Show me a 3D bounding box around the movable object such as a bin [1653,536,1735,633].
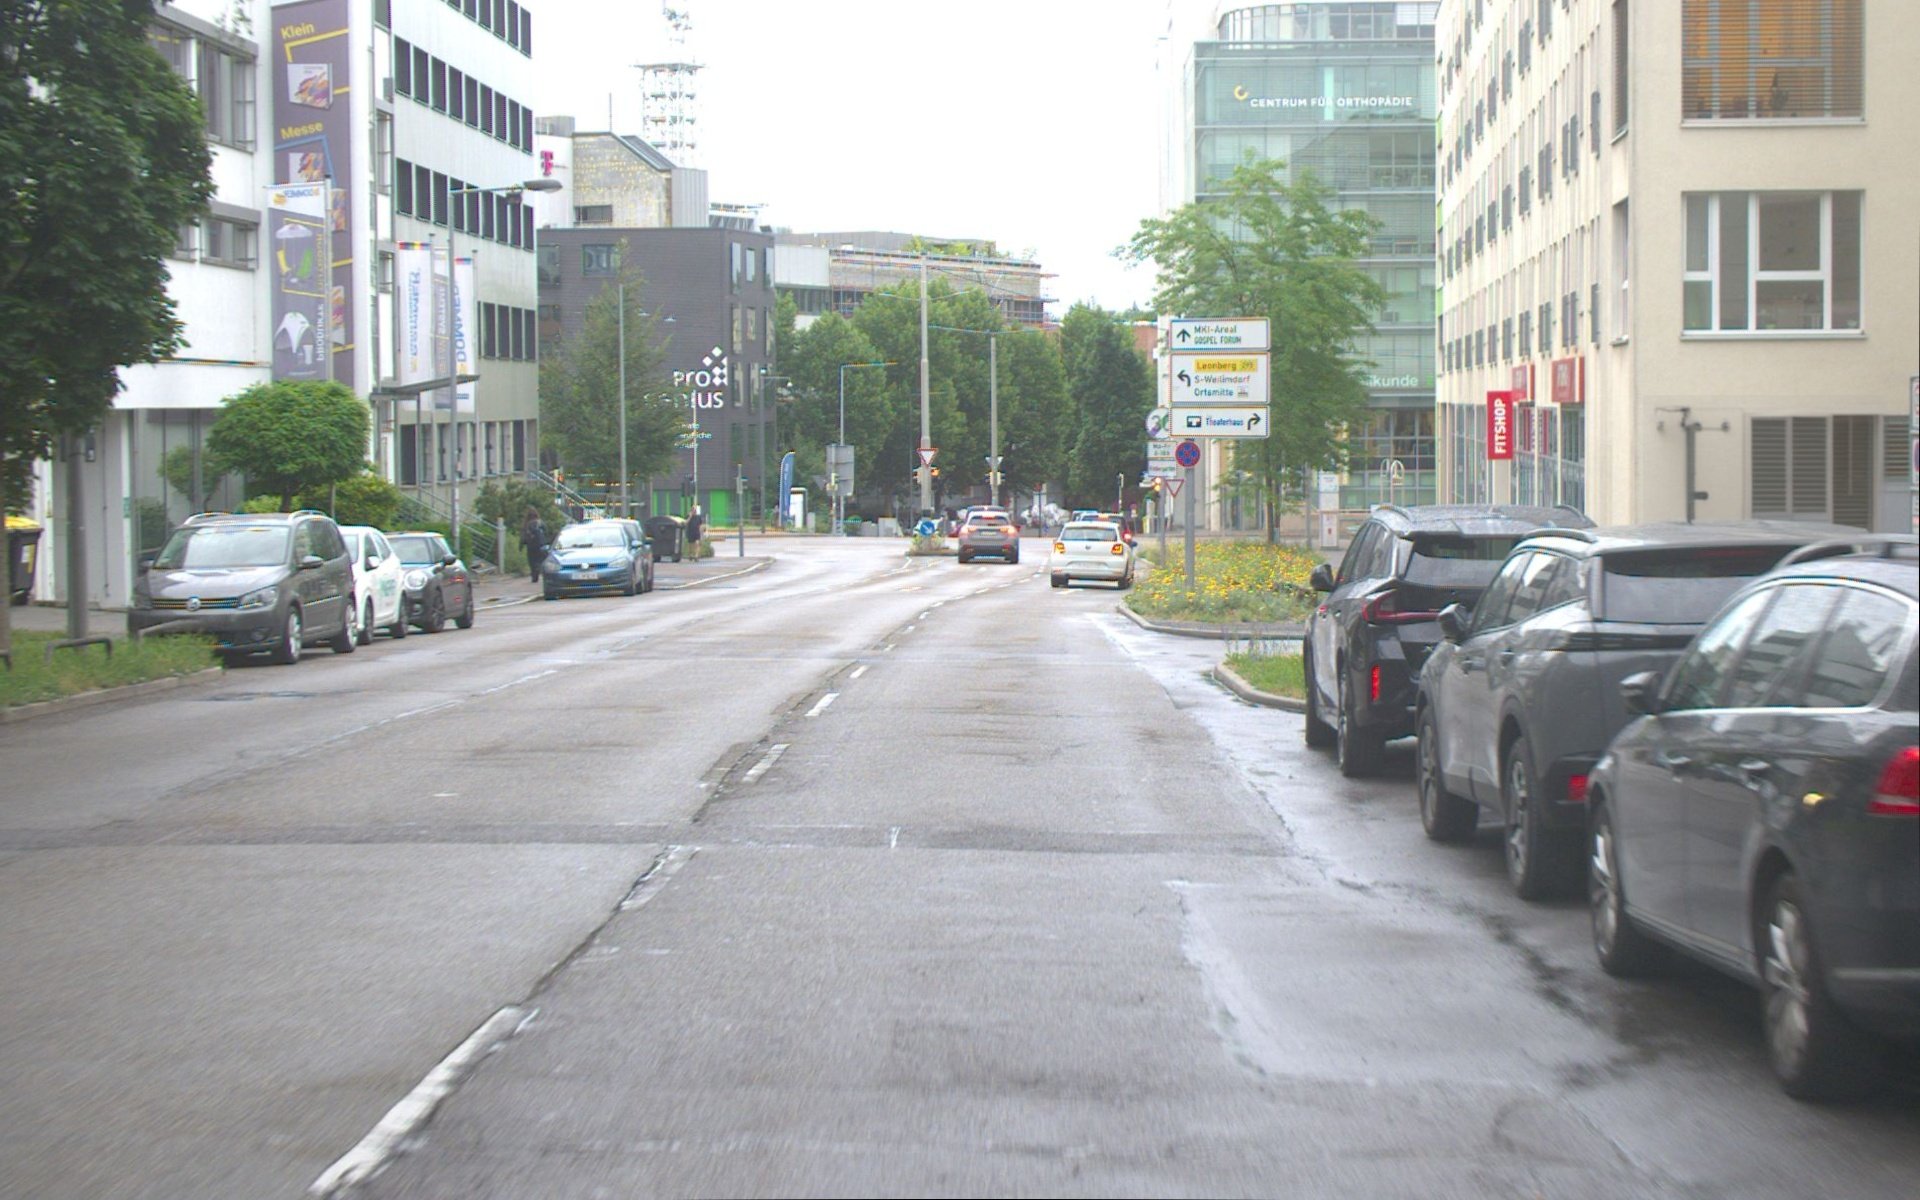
[{"bbox_3d":[10.732,-0.229,50.275,1.021,1.398,1.057,0,1,3],"label":"movable object such as a bin"}]

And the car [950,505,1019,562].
[{"bbox_3d":[0.804,-2.091,109.226,2.141,1.722,4.000,0,0,1],"label":"car"}]

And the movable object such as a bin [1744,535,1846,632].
[{"bbox_3d":[12.156,-0.240,50.083,1.261,1.398,1.112,0,1,3],"label":"movable object such as a bin"}]

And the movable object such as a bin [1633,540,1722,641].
[{"bbox_3d":[10.727,-0.152,51.404,1.174,1.498,1.013,0,1,4],"label":"movable object such as a bin"}]

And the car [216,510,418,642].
[{"bbox_3d":[-8.110,-0.326,43.680,1.773,1.595,4.032,0,1,1],"label":"car"}]

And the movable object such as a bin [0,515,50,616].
[{"bbox_3d":[-14.897,-0.503,52.145,1.795,1.505,1.482,-2,1,-2],"label":"movable object such as a bin"}]

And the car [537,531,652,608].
[{"bbox_3d":[-7.195,-0.589,67.997,1.913,1.476,4.357,0,0,-2],"label":"car"}]

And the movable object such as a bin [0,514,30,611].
[{"bbox_3d":[-14.893,-0.571,50.648,2.054,1.418,1.317,1,1,-2],"label":"movable object such as a bin"}]

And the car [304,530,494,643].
[{"bbox_3d":[-7.836,-0.191,48.406,1.797,1.511,4.245,0,0,3],"label":"car"}]

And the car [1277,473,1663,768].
[{"bbox_3d":[3.128,0.057,21.992,1.807,1.673,4.712,1,1,1],"label":"car"}]

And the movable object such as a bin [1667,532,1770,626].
[{"bbox_3d":[10.835,-0.298,49.154,1.235,1.315,1.191,-1,0,3],"label":"movable object such as a bin"}]

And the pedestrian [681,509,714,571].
[{"bbox_3d":[-8.462,-1.926,110.659,0.959,1.948,0.779,0,0,-11],"label":"pedestrian"}]

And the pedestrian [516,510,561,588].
[{"bbox_3d":[-9.350,-1.130,76.217,0.728,1.703,0.903,0,0,-26],"label":"pedestrian"}]

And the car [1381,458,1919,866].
[{"bbox_3d":[3.058,0.241,15.789,1.748,1.600,4.373,0,0,1],"label":"car"}]

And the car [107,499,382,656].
[{"bbox_3d":[-7.904,-0.286,38.423,2.077,1.603,4.686,-1,1,0],"label":"car"}]

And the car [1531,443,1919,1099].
[{"bbox_3d":[3.040,0.406,10.584,1.807,1.558,4.846,0,0,1],"label":"car"}]

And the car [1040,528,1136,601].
[{"bbox_3d":[2.782,-0.802,75.556,1.993,1.571,3.996,0,1,1],"label":"car"}]

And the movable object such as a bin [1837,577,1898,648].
[{"bbox_3d":[13.180,0.180,49.943,0.699,1.023,0.853,0,1,3],"label":"movable object such as a bin"}]
